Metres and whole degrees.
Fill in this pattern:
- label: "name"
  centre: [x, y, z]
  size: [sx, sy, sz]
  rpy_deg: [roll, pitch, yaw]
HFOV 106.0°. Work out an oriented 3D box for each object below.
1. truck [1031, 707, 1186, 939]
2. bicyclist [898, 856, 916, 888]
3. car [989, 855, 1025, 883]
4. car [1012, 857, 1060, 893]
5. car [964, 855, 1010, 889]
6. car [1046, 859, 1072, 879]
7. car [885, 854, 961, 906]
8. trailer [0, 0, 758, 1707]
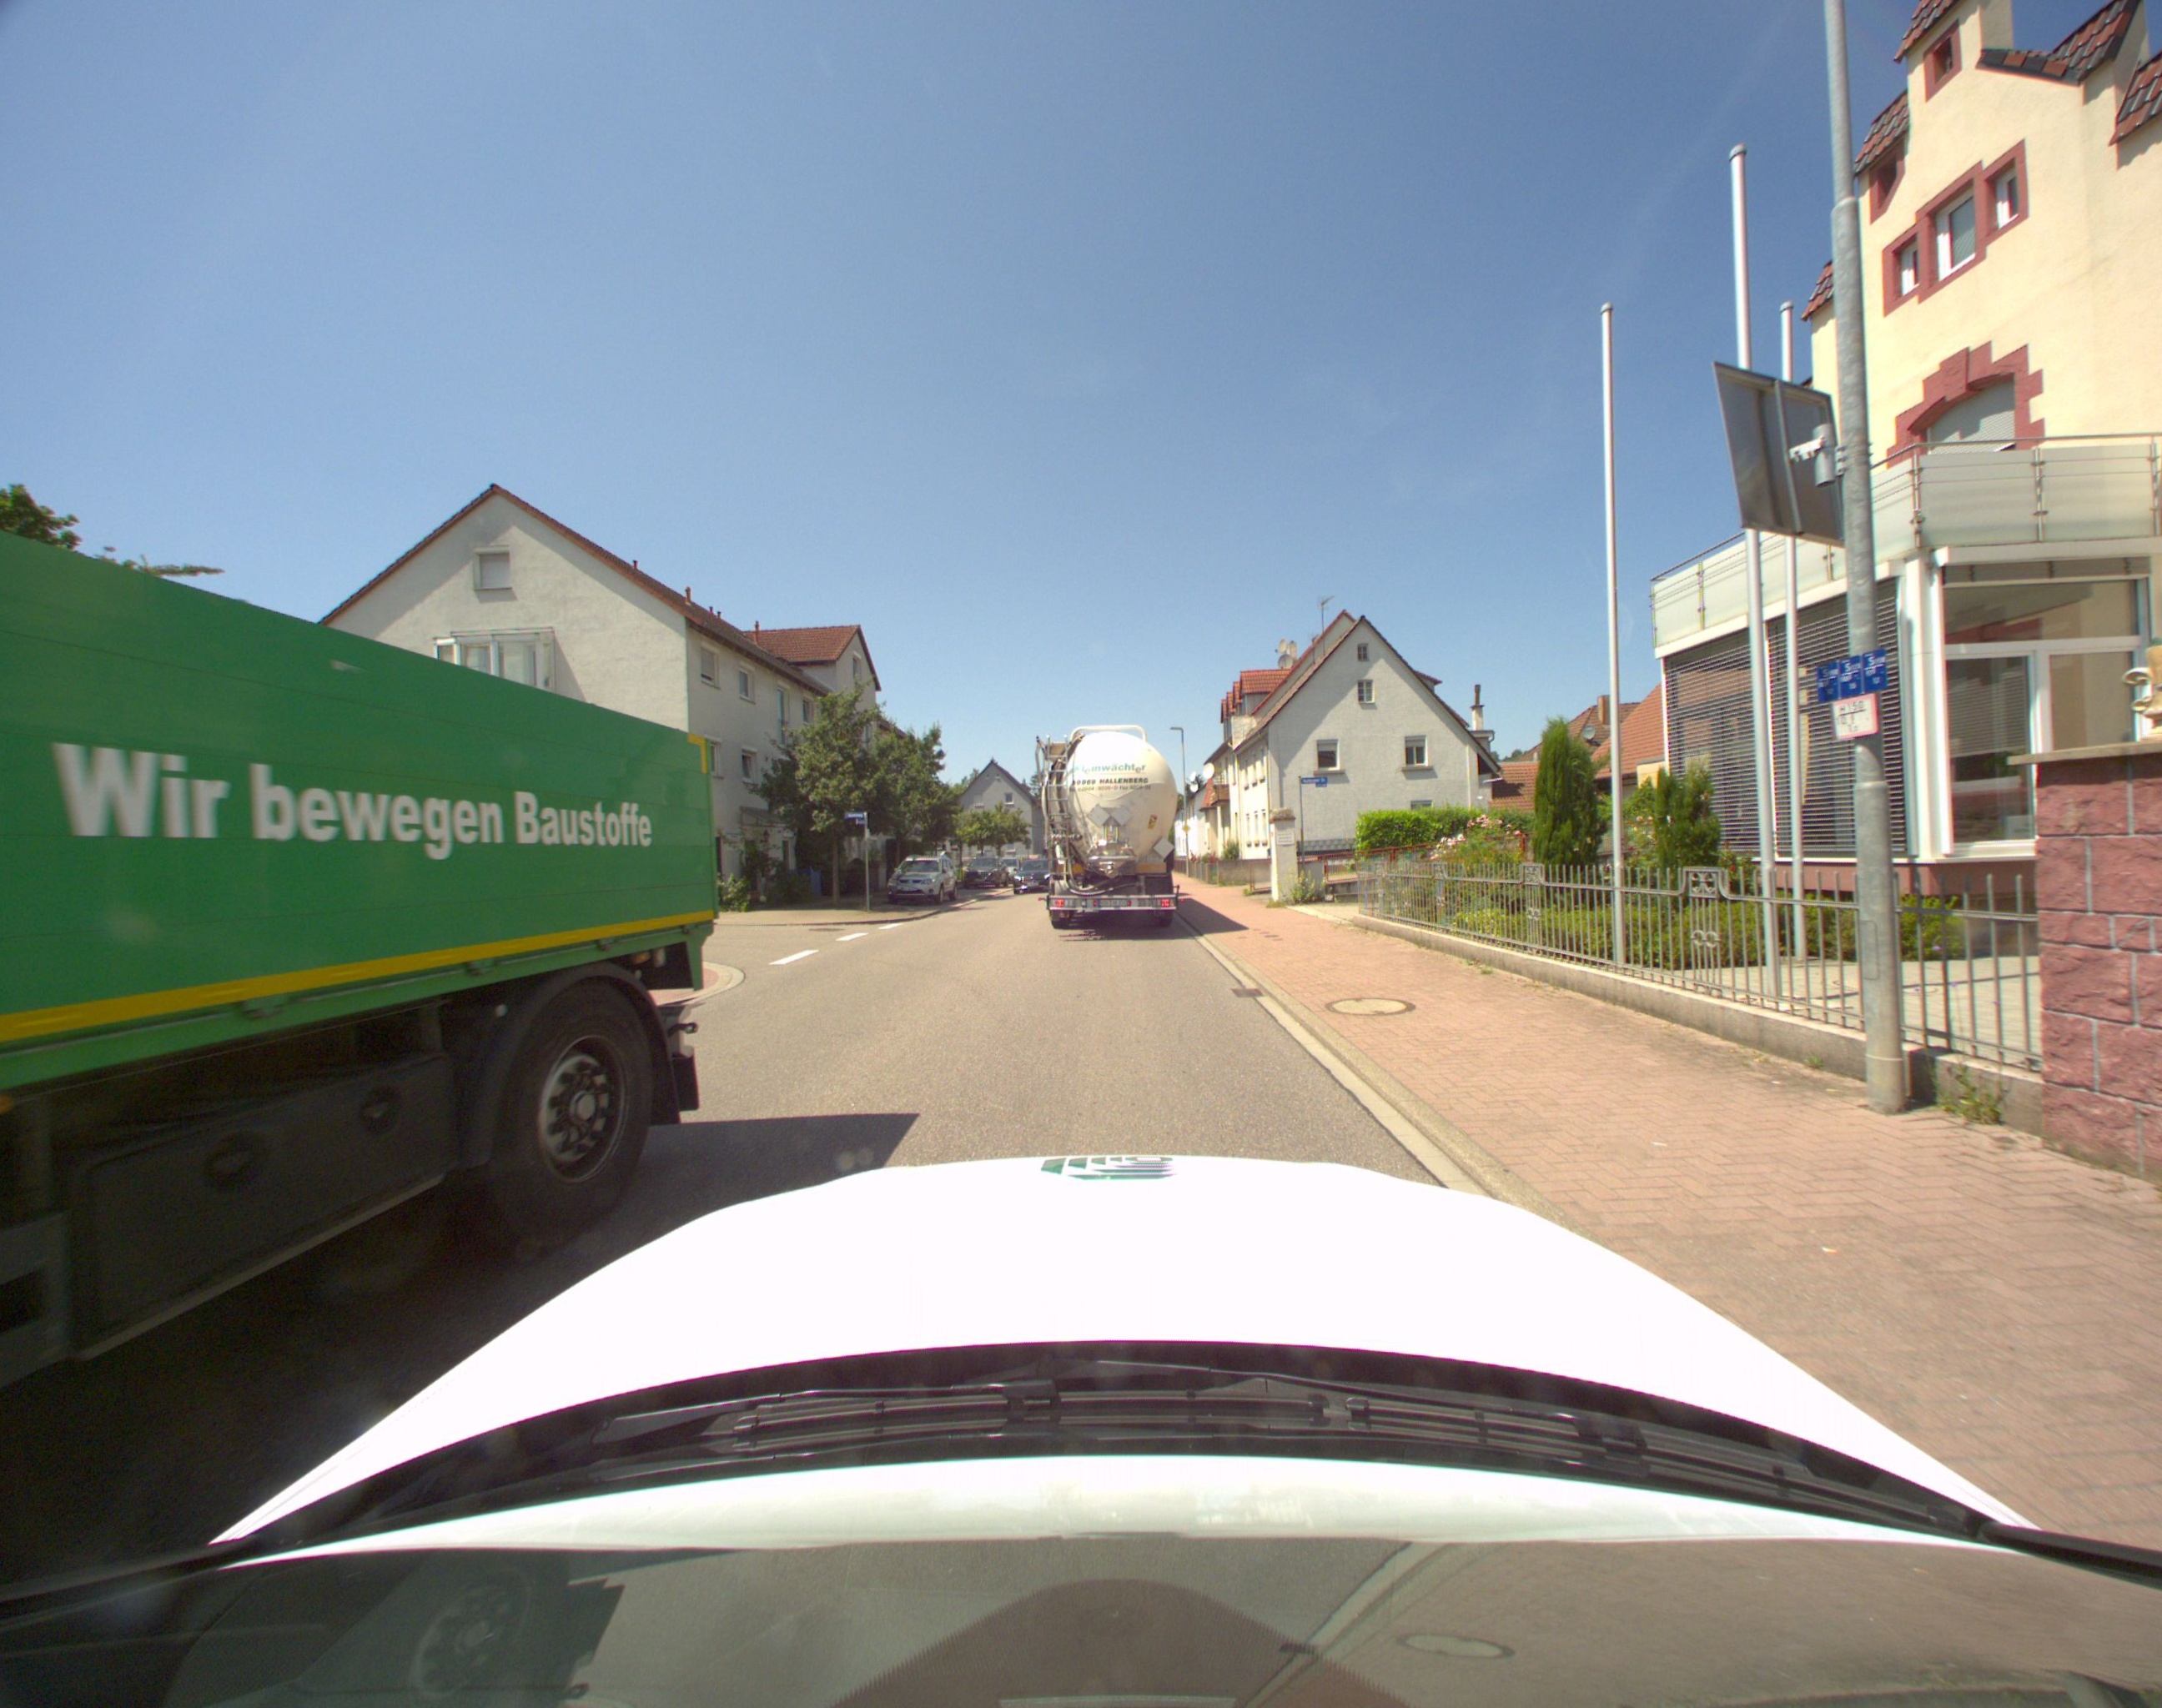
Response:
- label: "truck"
  centre: [0.571, -0.540, 19.114]
  size: [2.632, 4.016, 9.562]
  rpy_deg: [-2, 0, 1]
- label: "bicyclist"
  centre: [-8.224, 0.826, 38.519]
  size: [0.657, 1.494, 0.909]
  rpy_deg: [1, -1, -2]
- label: "car"
  centre: [-4.475, 0.898, 49.505]
  size: [1.691, 1.581, 3.839]
  rpy_deg: [-1, 0, 2]
- label: "car"
  centre: [-1.961, 0.899, 36.856]
  size: [1.724, 1.460, 4.696]
  rpy_deg: [-3, 0, 1]
- label: "car"
  centre: [-4.864, 0.898, 42.616]
  size: [1.685, 1.620, 4.000]
  rpy_deg: [-1, 0, 3]
- label: "car"
  centre: [-1.709, 1.163, 63.539]
  size: [1.699, 1.370, 3.871]
  rpy_deg: [-4, 0, 2]
- label: "car"
  centre: [-5.517, 0.850, 28.929]
  size: [1.700, 1.686, 4.527]
  rpy_deg: [-1, 0, 1]
- label: "trailer"
  centre: [-3.284, -0.236, 0.526]
  size: [2.521, 3.649, 8.462]
  rpy_deg: [-2, 0, 1]
